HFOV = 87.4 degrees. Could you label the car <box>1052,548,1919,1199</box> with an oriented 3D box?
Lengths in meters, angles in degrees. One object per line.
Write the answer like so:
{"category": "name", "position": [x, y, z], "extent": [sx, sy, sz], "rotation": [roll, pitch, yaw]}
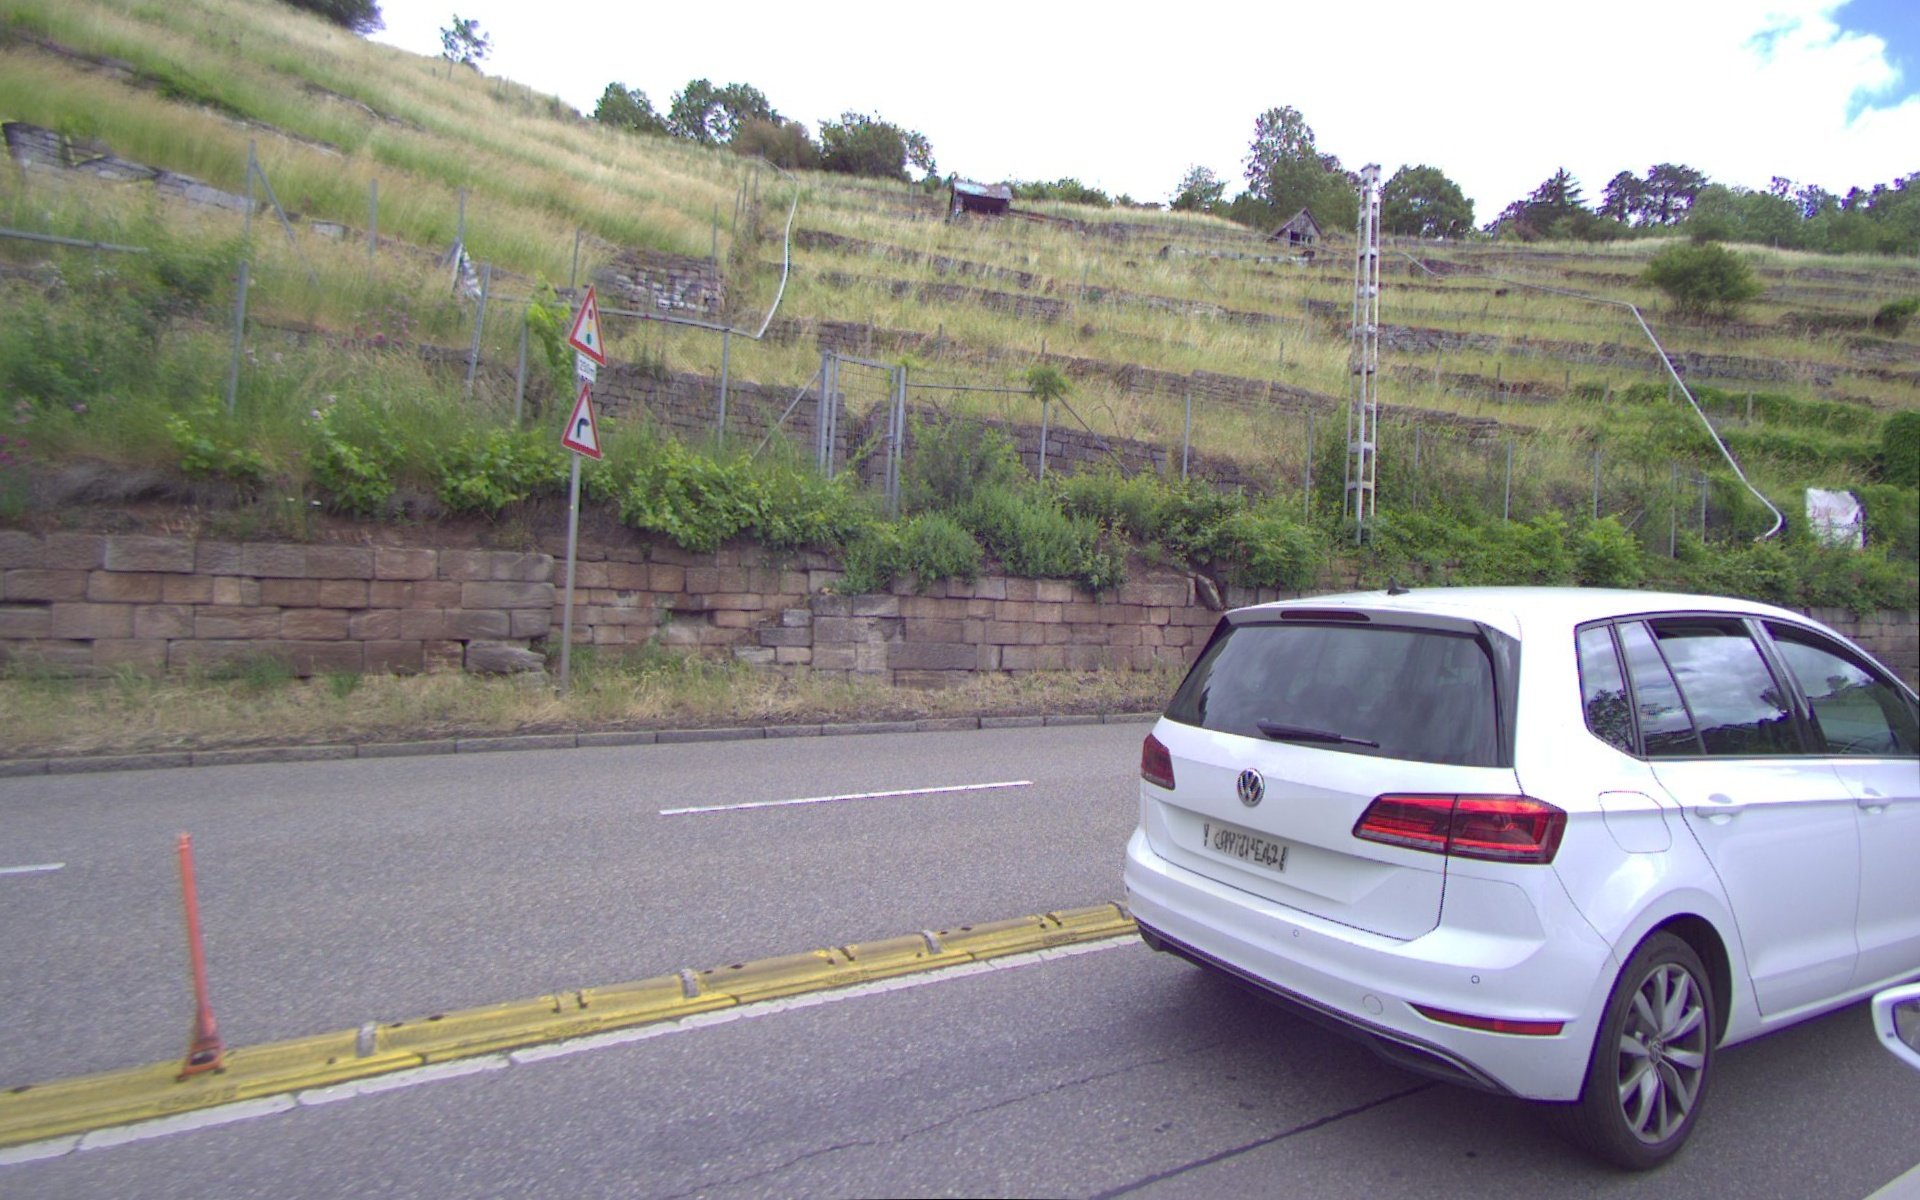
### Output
{"category": "car", "position": [2.657, 0.733, 4.025], "extent": [4.304, 1.601, 1.812], "rotation": [1, 0, -30]}
